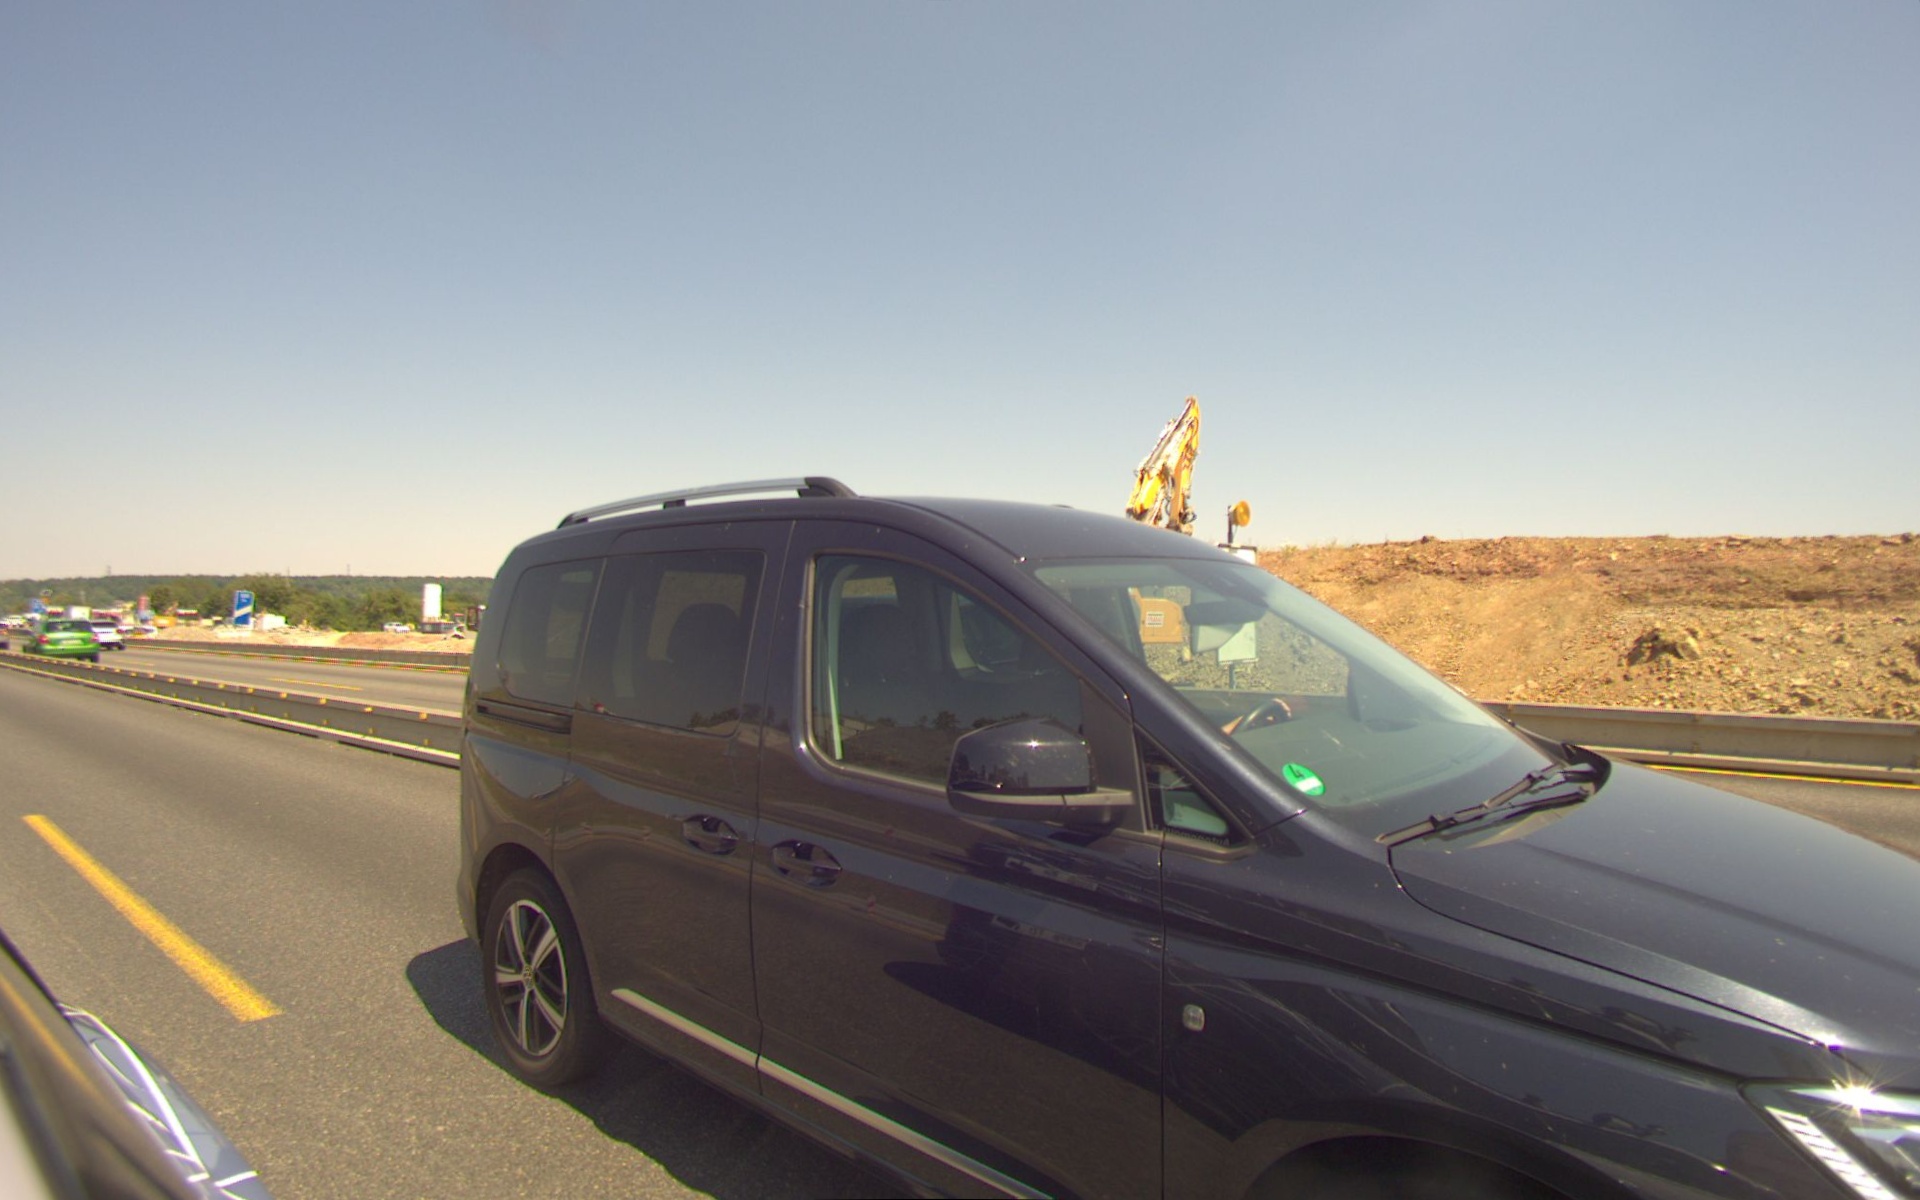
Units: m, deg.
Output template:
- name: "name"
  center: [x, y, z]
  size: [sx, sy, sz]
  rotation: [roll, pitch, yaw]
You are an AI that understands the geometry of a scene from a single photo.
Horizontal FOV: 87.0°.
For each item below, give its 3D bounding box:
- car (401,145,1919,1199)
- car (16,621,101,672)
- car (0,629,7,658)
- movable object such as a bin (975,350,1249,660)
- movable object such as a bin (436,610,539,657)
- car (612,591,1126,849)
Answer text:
- name: "car"
  center: [0.383, 0.498, 2.679]
  size: [4.780, 1.838, 1.733]
  rotation: [-2, -1, 41]
- name: "car"
  center: [-29.586, 1.498, 33.193]
  size: [3.404, 1.537, 1.675]
  rotation: [-2, -1, 41]
- name: "car"
  center: [-49.030, 2.215, 50.618]
  size: [3.404, 1.412, 1.685]
  rotation: [-2, -1, 41]
- name: "movable object such as a bin"
  center: [4.325, -2.222, 27.511]
  size: [4.079, 7.167, 7.284]
  rotation: [-1, 0, 41]
- name: "movable object such as a bin"
  center: [-23.333, 1.610, 49.841]
  size: [6.141, 2.150, 2.291]
  rotation: [-1, 0, 41]
- name: "car"
  center: [-0.932, 0.788, 8.283]
  size: [4.223, 1.577, 1.748]
  rotation: [-2, -1, 41]
